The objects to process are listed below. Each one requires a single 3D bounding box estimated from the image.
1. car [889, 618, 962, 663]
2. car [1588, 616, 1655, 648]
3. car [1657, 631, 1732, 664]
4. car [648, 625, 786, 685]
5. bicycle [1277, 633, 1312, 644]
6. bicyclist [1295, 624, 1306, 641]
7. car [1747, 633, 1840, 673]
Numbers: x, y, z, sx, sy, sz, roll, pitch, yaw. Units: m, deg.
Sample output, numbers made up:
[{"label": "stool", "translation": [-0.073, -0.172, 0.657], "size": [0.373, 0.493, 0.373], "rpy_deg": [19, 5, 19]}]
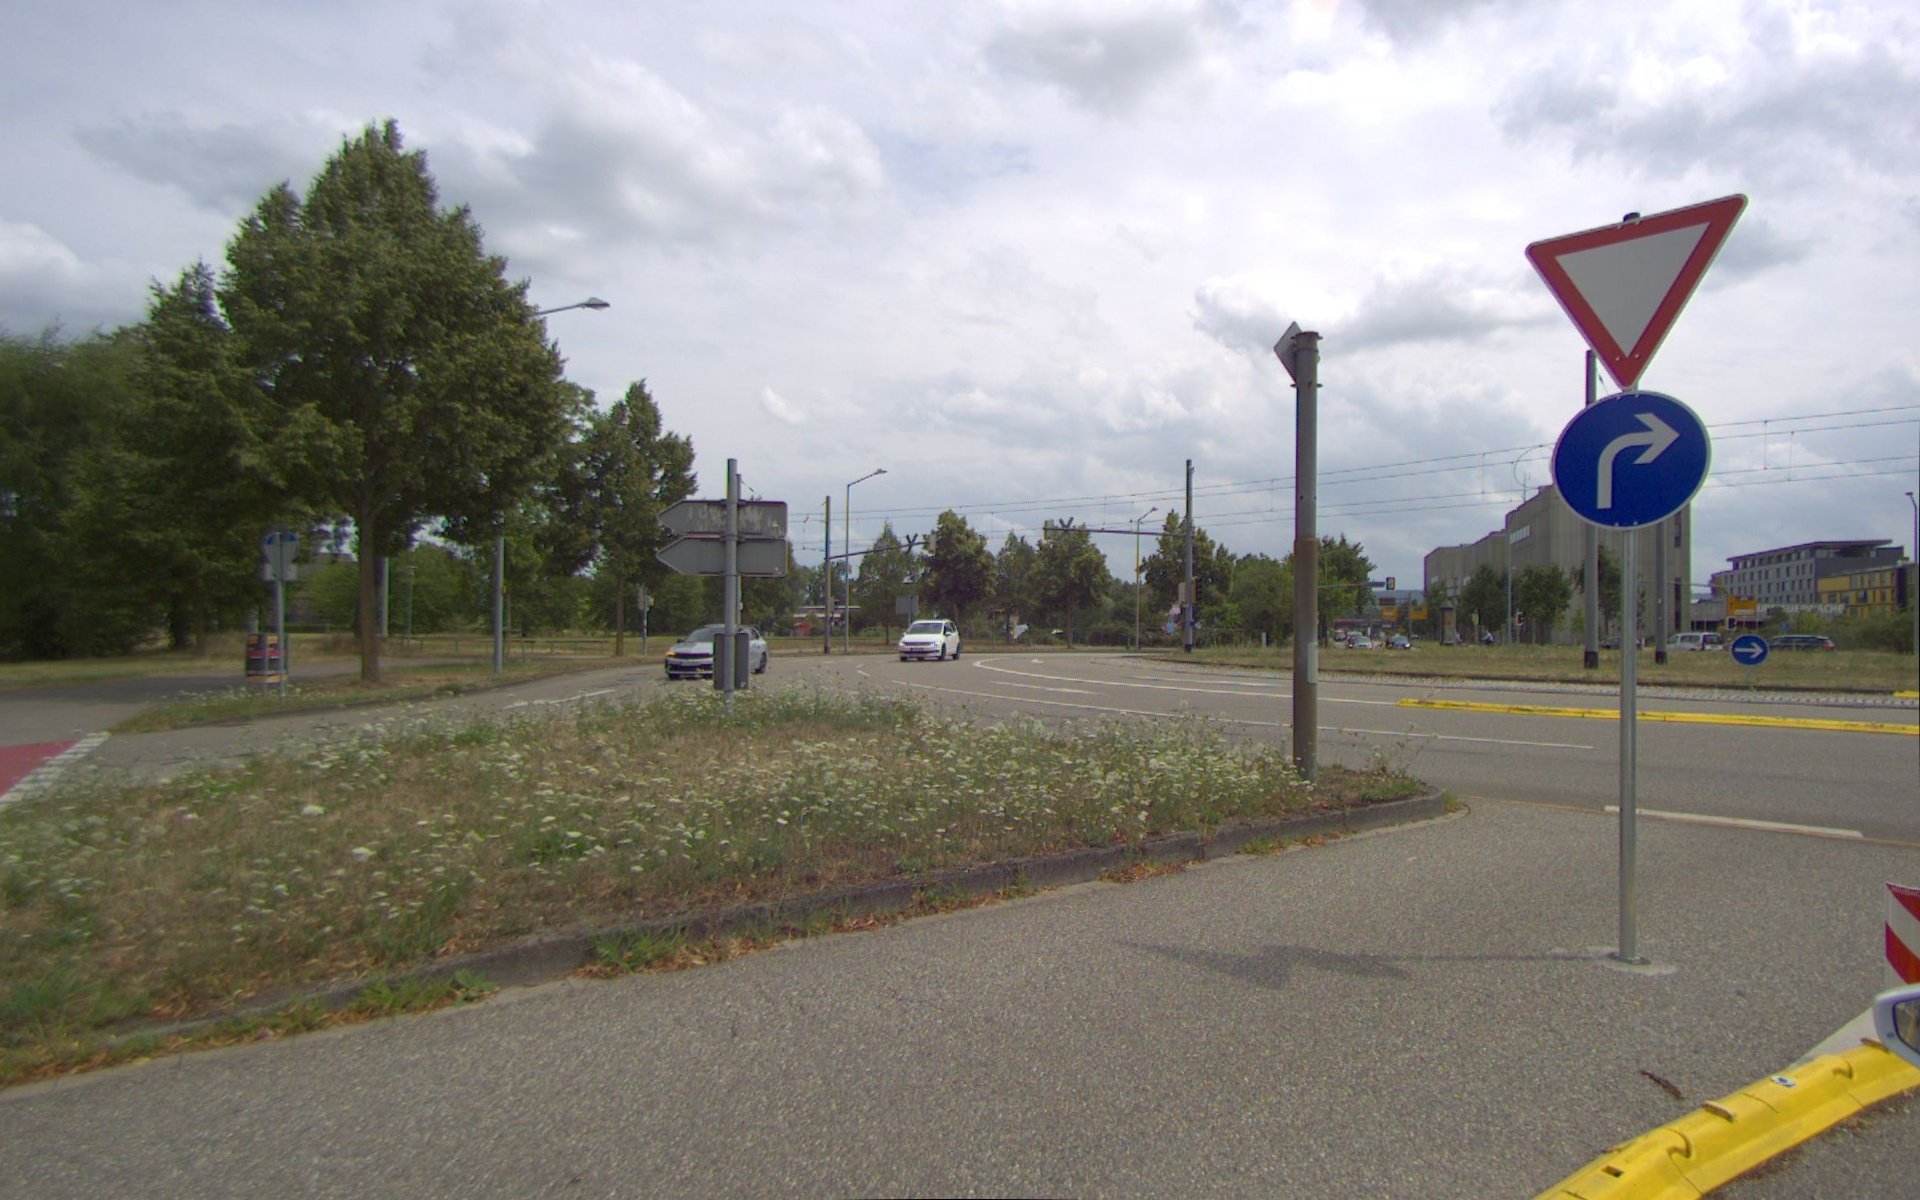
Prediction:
[{"label": "car", "translation": [-1.338, 1.610, 40.678], "size": [1.899, 1.687, 4.358], "rpy_deg": [-1, -2, 13]}, {"label": "car", "translation": [44.693, 2.155, 67.941], "size": [1.960, 2.040, 4.002], "rpy_deg": [2, -1, 3]}, {"label": "car", "translation": [49.493, 3.153, 67.798], "size": [1.960, 2.040, 4.364], "rpy_deg": [2, -1, 3]}, {"label": "car", "translation": [-6.681, 1.465, 28.315], "size": [1.959, 1.502, 5.187], "rpy_deg": [0, -1, 8]}, {"label": "bicycle", "translation": [27.481, 3.138, 82.466], "size": [2.605, 0.866, 0.864], "rpy_deg": [0, -1, 2]}, {"label": "bicyclist", "translation": [27.960, 2.657, 82.479], "size": [0.661, 1.428, 0.864], "rpy_deg": [0, -1, 2]}, {"label": "car", "translation": [47.616, 2.999, 57.390], "size": [3.945, 2.040, 1.988], "rpy_deg": [1, -2, 44]}]
